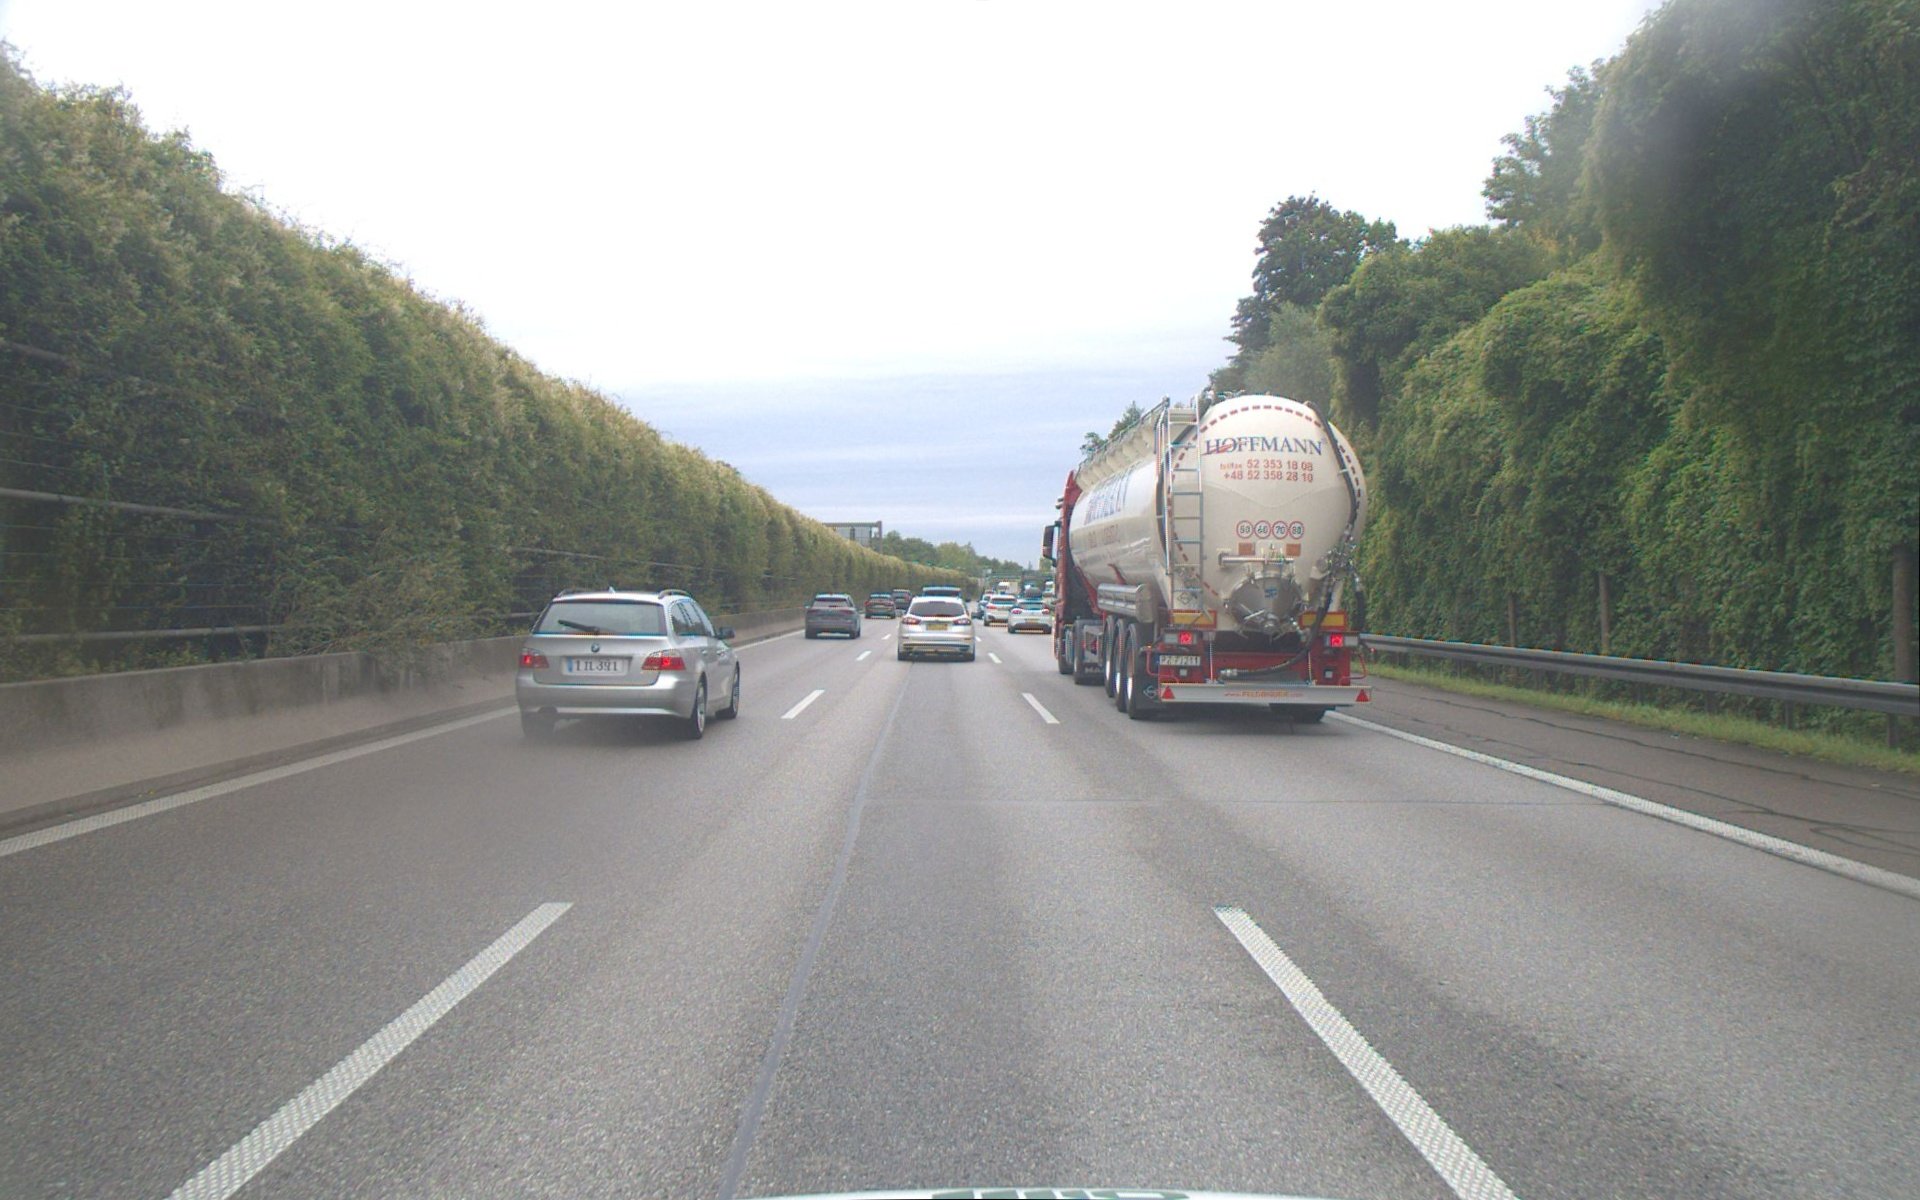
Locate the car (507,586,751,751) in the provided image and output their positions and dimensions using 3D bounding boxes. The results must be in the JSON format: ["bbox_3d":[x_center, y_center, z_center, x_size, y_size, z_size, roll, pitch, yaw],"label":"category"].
[{"bbox_3d":[-3.429,0.623,18.057,1.685,1.494,5.029,1,1,-1],"label":"car"}]

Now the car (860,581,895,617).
[{"bbox_3d":[-4.966,-0.070,99.648,1.953,2.049,3.840,1,0,-1],"label":"car"}]

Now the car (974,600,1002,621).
[{"bbox_3d":[1.829,0.680,108.455,1.654,1.354,3.870,1,0,-1],"label":"car"}]

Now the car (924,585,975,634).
[{"bbox_3d":[-0.415,0.318,60.518,1.655,1.532,3.871,5,1,-2],"label":"car"}]

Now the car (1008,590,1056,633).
[{"bbox_3d":[2.938,0.455,68.487,1.779,1.654,5.030,1,0,0],"label":"car"}]

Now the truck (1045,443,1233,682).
[{"bbox_3d":[3.211,-0.621,31.308,2.640,3.981,6.554,1,0,-1],"label":"truck"}]

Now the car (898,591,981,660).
[{"bbox_3d":[-0.500,0.569,39.811,1.853,1.530,5.029,1,0,-1],"label":"car"}]

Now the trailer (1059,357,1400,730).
[{"bbox_3d":[3.338,-0.589,24.614,2.614,4.008,13.126,1,0,-1],"label":"trailer"}]

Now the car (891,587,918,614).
[{"bbox_3d":[-4.336,0.049,130.018,1.953,2.049,3.999,1,0,-1],"label":"car"}]

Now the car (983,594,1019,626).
[{"bbox_3d":[2.049,0.512,83.843,1.654,1.533,3.870,1,0,-1],"label":"car"}]

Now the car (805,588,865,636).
[{"bbox_3d":[-4.229,0.399,56.578,1.685,1.538,5.029,1,0,-1],"label":"car"}]
